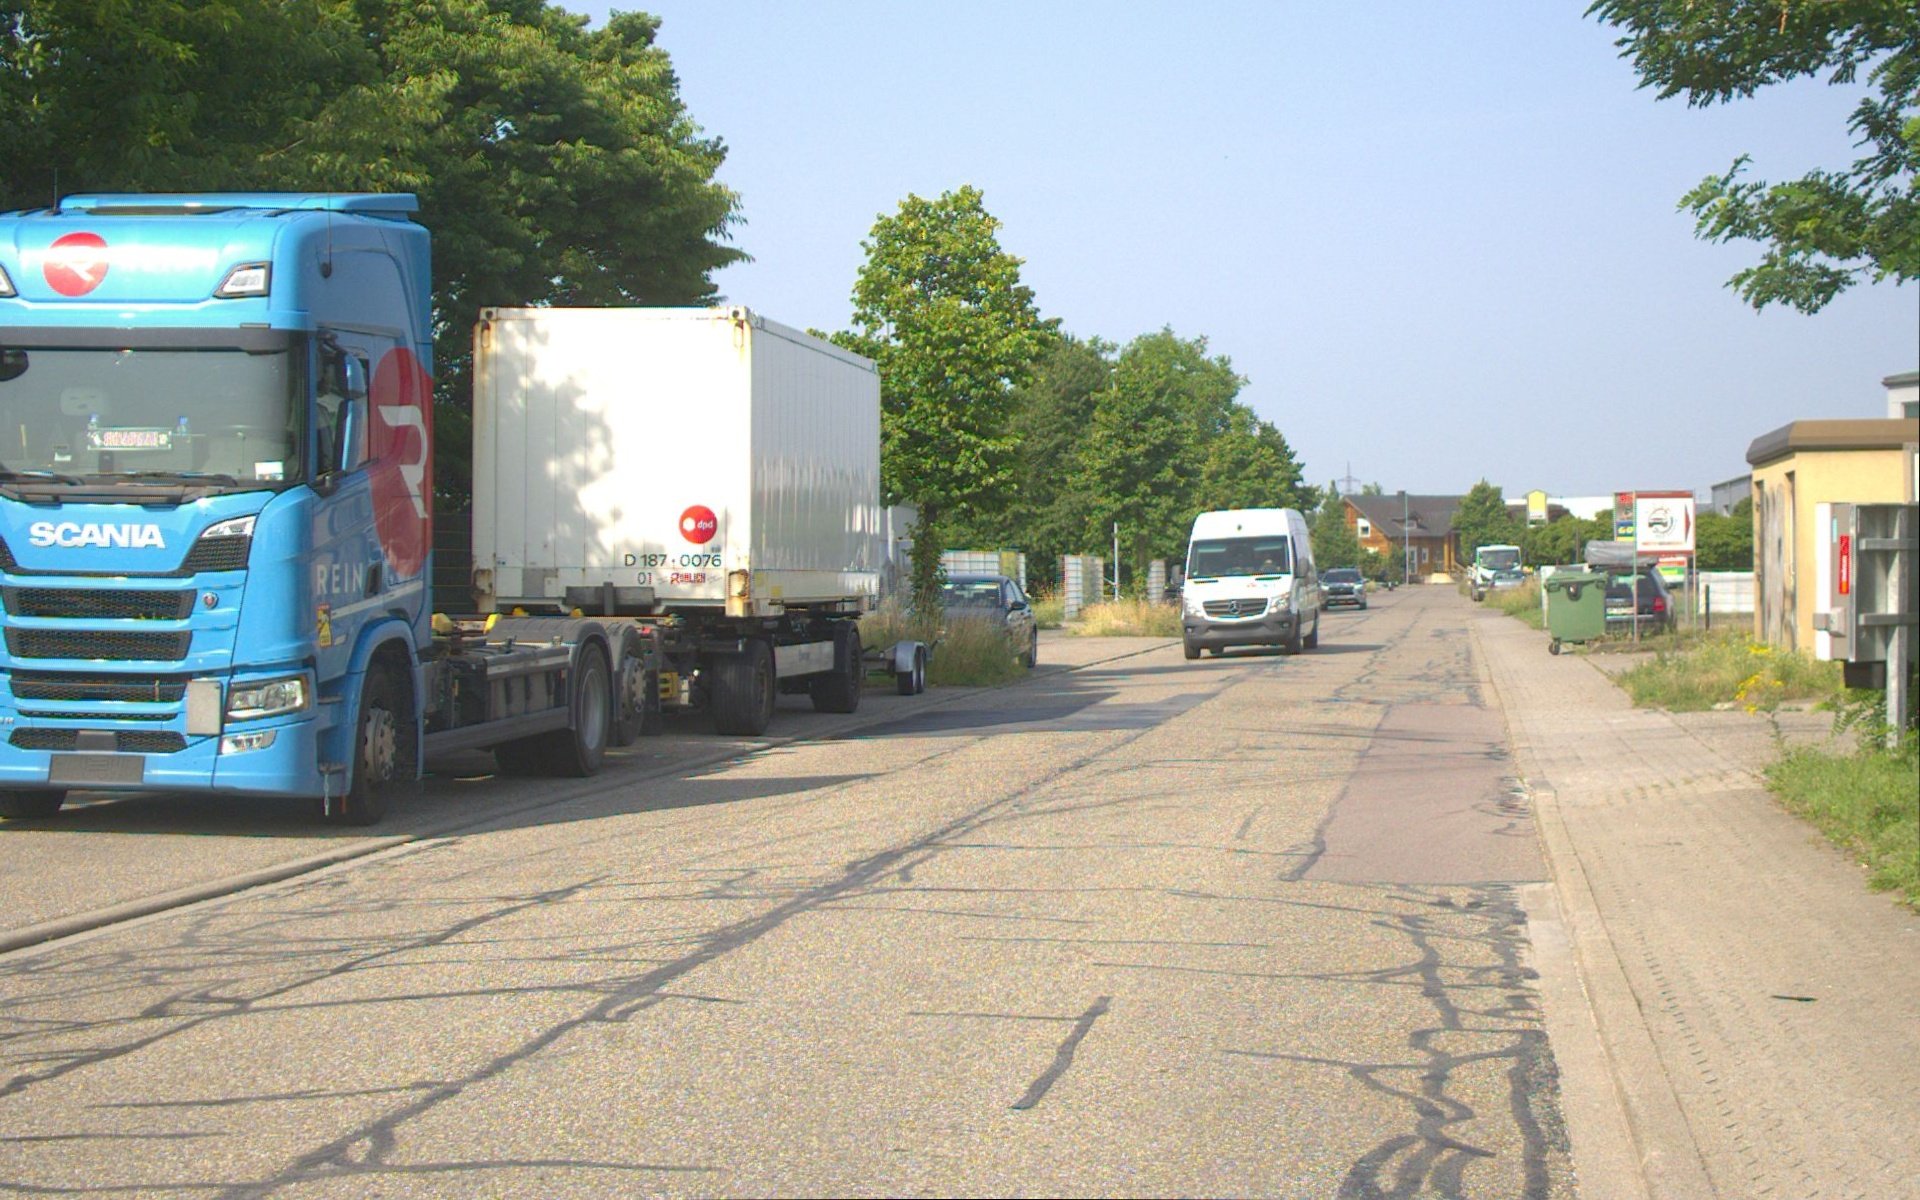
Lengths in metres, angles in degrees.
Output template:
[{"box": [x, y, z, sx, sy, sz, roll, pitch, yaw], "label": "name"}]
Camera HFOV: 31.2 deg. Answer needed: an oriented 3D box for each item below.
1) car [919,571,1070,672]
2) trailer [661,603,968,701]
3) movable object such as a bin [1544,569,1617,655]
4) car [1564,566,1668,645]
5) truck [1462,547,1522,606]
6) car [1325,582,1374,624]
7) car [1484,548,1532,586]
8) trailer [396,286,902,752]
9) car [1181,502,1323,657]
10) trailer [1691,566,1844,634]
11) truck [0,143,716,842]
[{"box": [0.568, 0.298, 52.689, 1.688, 1.465, 4.092, -1, 0, 10], "label": "car"}, {"box": [-1.627, 0.588, 41.548, 2.649, 0.982, 6.241, -1, 0, 8], "label": "trailer"}, {"box": [10.201, 0.191, 56.576, 1.081, 1.349, 1.505, -3, 0, 9], "label": "movable object such as a bin"}, {"box": [11.948, 0.072, 62.460, 1.674, 1.364, 4.391, -1, 0, 13], "label": "car"}, {"box": [25.264, -1.148, 163.437, 2.359, 2.672, 6.510, -1, 1, 5], "label": "truck"}, {"box": [15.472, 0.108, 136.424, 1.812, 1.621, 4.248, -1, 0, 8], "label": "car"}, {"box": [22.323, -1.356, 140.105, 1.794, 1.512, 4.423, -1, 1, 8], "label": "car"}, {"box": [-2.698, -0.729, 33.587, 2.701, 3.871, 9.762, 1, 1, 8], "label": "trailer"}, {"box": [5.237, -0.383, 60.910, 1.994, 2.538, 6.987, -1, 0, 9], "label": "car"}, {"box": [15.275, -0.009, 65.111, 1.489, 1.244, 2.978, 1, 1, -17], "label": "trailer"}, {"box": [-4.126, -0.654, 24.024, 2.714, 3.871, 9.632, 1, 1, 9], "label": "truck"}]
